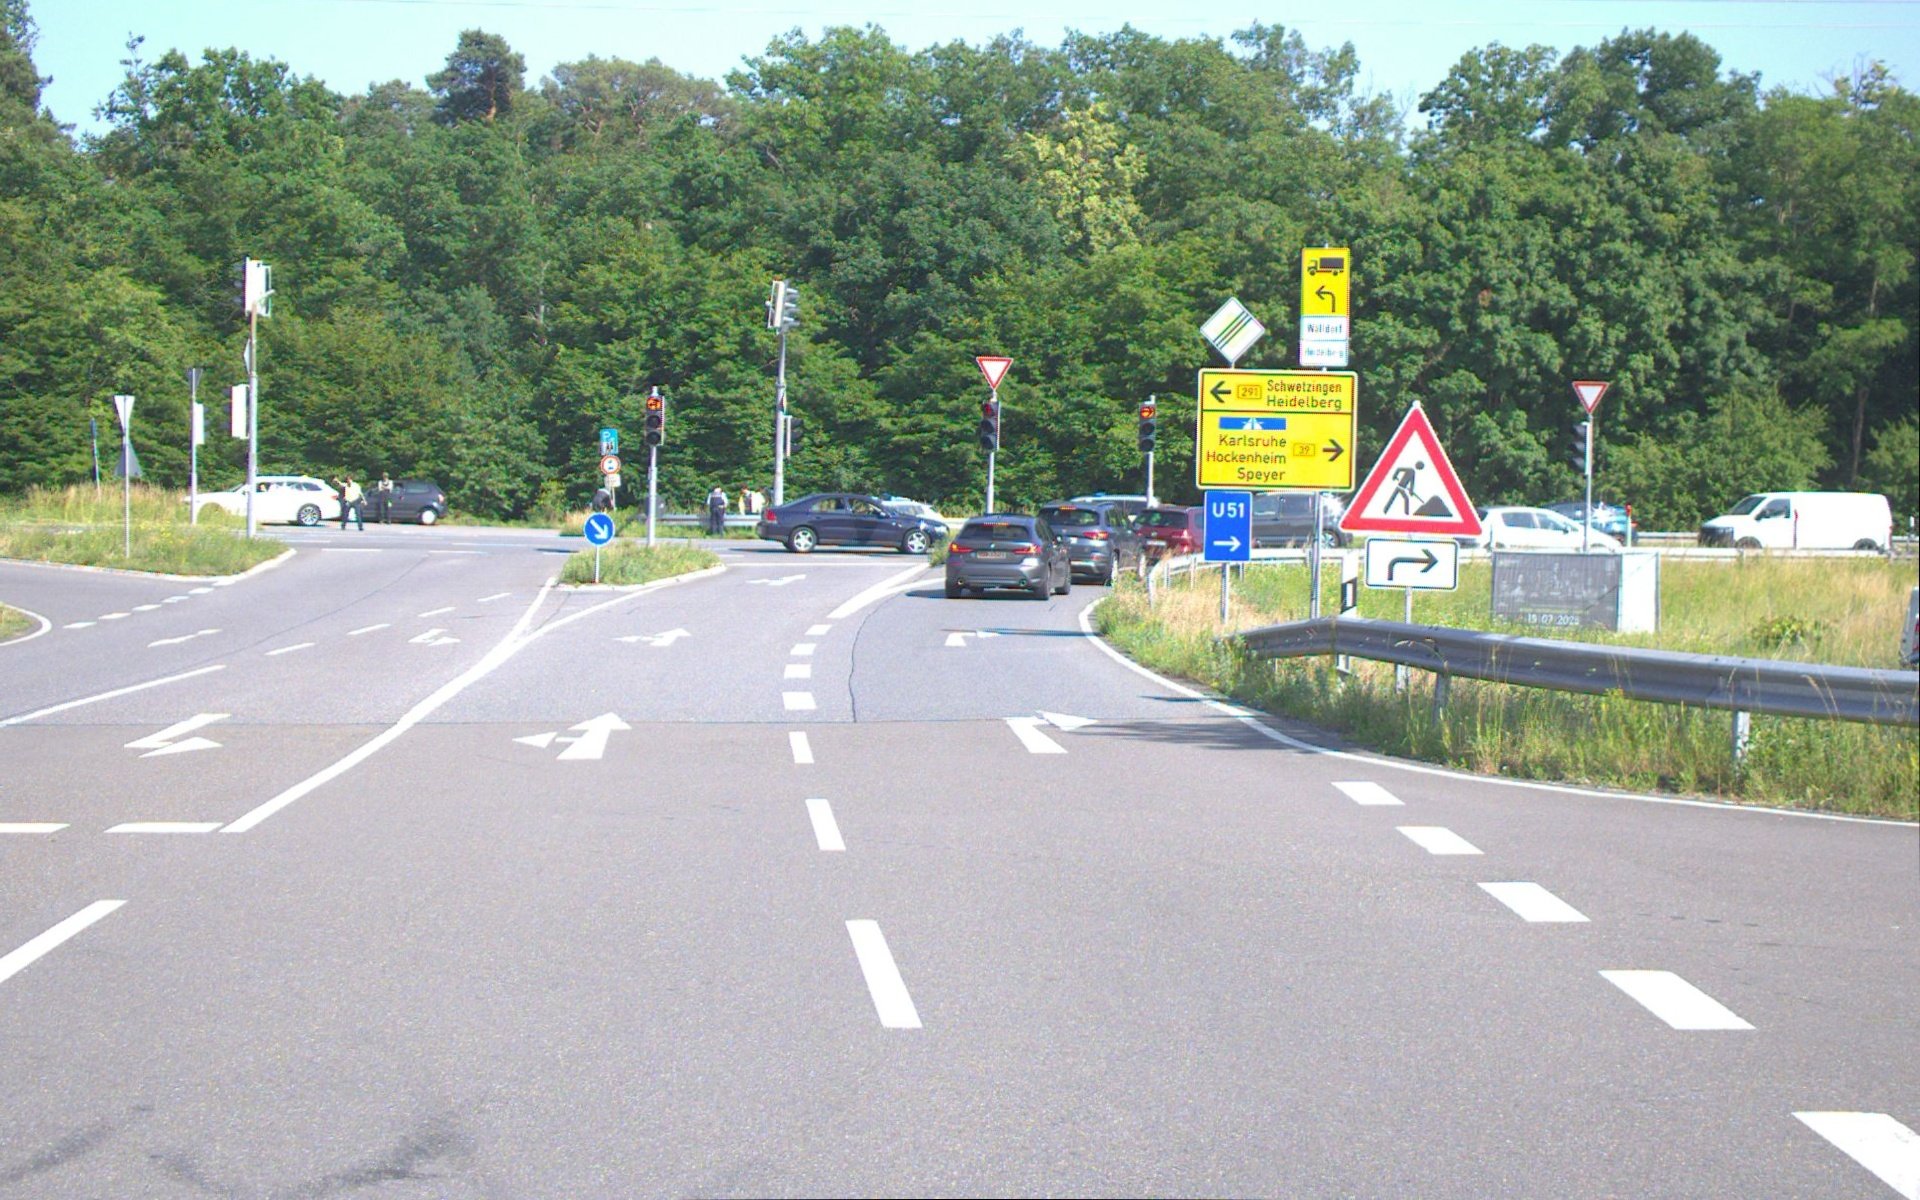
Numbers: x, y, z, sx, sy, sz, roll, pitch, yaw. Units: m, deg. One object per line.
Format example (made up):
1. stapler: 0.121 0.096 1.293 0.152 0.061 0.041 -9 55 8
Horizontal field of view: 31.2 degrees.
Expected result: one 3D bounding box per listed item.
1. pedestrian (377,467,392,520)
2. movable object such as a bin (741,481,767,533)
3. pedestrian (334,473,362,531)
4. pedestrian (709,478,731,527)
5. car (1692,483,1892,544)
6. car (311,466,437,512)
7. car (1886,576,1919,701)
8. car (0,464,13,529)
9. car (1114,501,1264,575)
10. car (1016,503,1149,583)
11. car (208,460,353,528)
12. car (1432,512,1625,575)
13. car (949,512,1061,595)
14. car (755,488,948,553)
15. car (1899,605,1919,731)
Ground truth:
1. pedestrian: -18.595 -3.428 111.068 0.407 1.708 0.453 -1 1 -7
2. movable object such as a bin: -5.911 -2.662 98.608 0.602 1.483 0.732 -1 1 4
3. pedestrian: -18.323 -2.938 102.958 0.756 1.715 0.679 0 2 -16
4. pedestrian: -6.849 -2.772 98.108 0.523 1.386 0.514 -1 1 8
5. car: 22.631 -2.347 93.545 4.880 1.546 2.001 -1 1 -9
6. car: -19.048 -3.601 111.888 3.986 1.417 1.796 -1 1 -9
7. car: 16.081 0.636 50.875 4.356 1.777 1.901 2 2 10
8. car: -23.760 -2.398 78.700 3.832 1.481 1.891 1 1 -10
9. car: 4.901 -1.325 73.108 1.802 1.495 3.995 2 2 26
10. car: 2.439 -1.135 67.665 1.800 1.495 3.998 1 2 14
11. car: -20.770 -3.235 105.095 3.986 2.007 1.796 -2 2 -24
12. car: 13.891 -1.393 84.128 4.227 1.454 2.001 -1 1 -10
13. car: 0.821 -0.845 60.368 1.799 1.393 4.000 0 2 3
14. car: -2.618 -1.906 82.303 4.363 1.454 2.001 -1 1 -10
15. car: 15.475 0.939 47.931 4.415 1.662 1.901 0 2 10
